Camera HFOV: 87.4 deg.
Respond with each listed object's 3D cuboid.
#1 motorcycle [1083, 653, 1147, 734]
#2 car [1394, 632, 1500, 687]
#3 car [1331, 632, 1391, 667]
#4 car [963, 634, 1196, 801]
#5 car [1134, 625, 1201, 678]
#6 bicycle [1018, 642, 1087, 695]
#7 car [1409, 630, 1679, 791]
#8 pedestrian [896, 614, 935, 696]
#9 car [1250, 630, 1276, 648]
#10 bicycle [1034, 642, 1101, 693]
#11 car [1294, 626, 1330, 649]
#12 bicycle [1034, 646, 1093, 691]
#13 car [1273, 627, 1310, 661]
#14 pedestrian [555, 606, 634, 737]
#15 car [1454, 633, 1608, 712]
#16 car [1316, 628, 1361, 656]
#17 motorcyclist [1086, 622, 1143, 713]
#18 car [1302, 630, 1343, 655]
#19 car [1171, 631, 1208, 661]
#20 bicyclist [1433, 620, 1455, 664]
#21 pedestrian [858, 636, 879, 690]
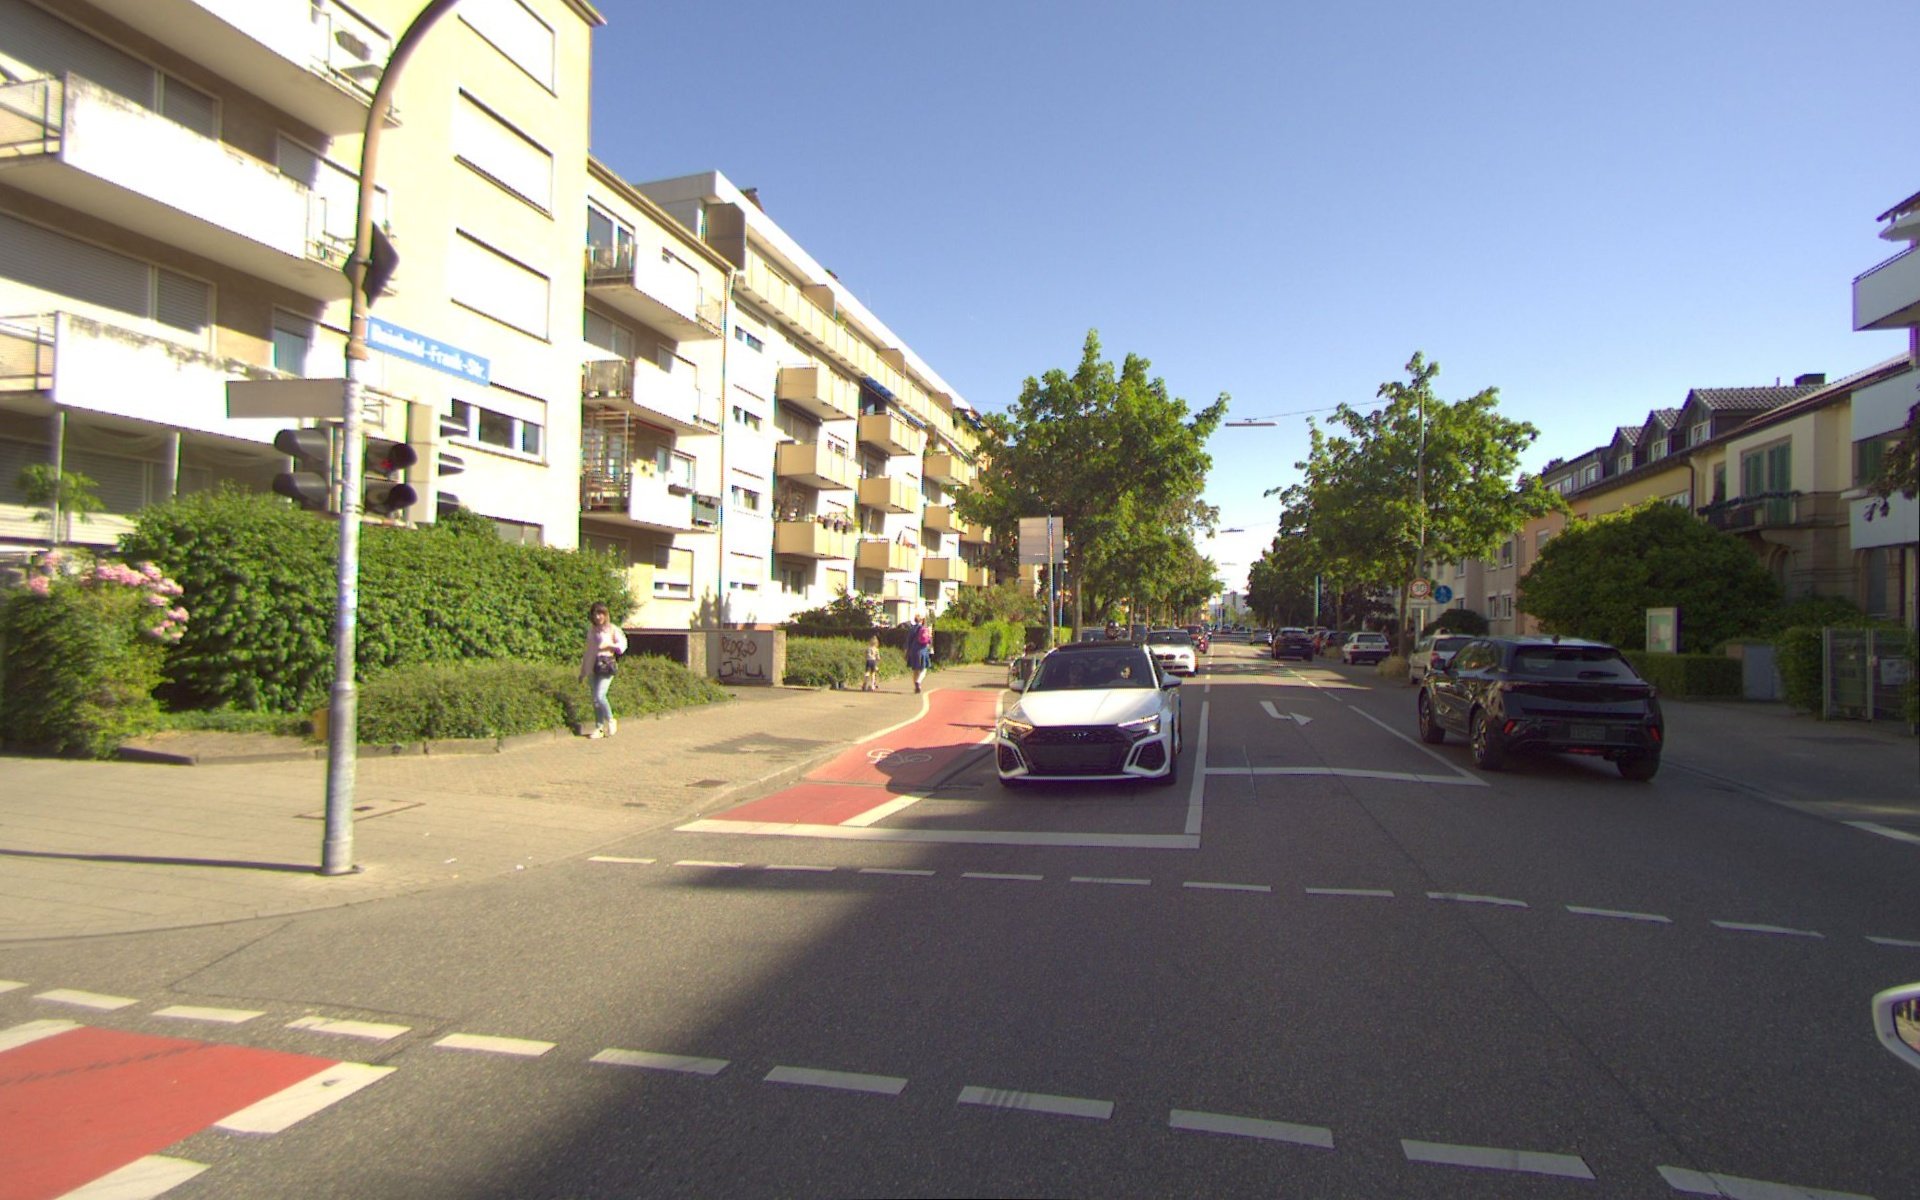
[{"bbox_3d":[2.439,1.430,15.700,0.734,1.149,1.684,-1,-2,17],"label":"motorcycle"},{"bbox_3d":[13.823,1.654,28.736,1.877,1.448,4.003,-2,-2,14],"label":"car"},{"bbox_3d":[17.849,2.162,44.854,1.877,1.448,4.003,-2,-2,14],"label":"car"},{"bbox_3d":[1.564,1.184,11.416,1.896,1.455,4.269,-3,-2,16],"label":"car"},{"bbox_3d":[6.757,1.629,32.405,1.779,1.579,4.251,-2,-2,16],"label":"car"},{"bbox_3d":[2.282,1.670,24.853,1.554,1.177,0.446,0,13,37],"label":"bicycle"},{"bbox_3d":[6.874,1.185,12.317,1.732,1.579,4.003,1,-1,13],"label":"car"},{"bbox_3d":[-0.940,1.155,21.408,0.563,1.705,0.969,0,-1,14],"label":"pedestrian"},{"bbox_3d":[25.839,3.277,85.709,1.806,1.452,4.179,1,-2,13],"label":"car"},{"bbox_3d":[2.720,1.695,25.479,1.554,1.177,0.446,0,13,37],"label":"bicycle"},{"bbox_3d":[23.726,2.529,67.878,1.877,1.448,4.003,-2,-2,14],"label":"car"},{"bbox_3d":[2.903,1.920,28.304,1.554,1.175,0.447,0,-10,37],"label":"bicycle"},{"bbox_3d":[16.193,2.148,49.159,1.565,1.586,4.091,1,-2,16],"label":"car"},{"bbox_3d":[-4.692,0.898,12.909,0.682,1.617,0.648,1,-1,12],"label":"pedestrian"},{"bbox_3d":[12.328,1.505,21.972,1.877,1.539,4.003,-1,-2,14],"label":"car"},{"bbox_3d":[21.311,2.358,56.670,1.877,1.448,4.003,-2,-2,14],"label":"car"},{"bbox_3d":[2.414,1.039,15.643,0.742,1.374,0.792,-1,-2,17],"label":"motorcyclist"},{"bbox_3d":[22.137,2.561,61.449,1.877,1.448,4.003,-2,-2,14],"label":"car"},{"bbox_3d":[13.153,2.616,57.427,1.779,1.579,4.251,-2,-2,16],"label":"car"},{"bbox_3d":[17.496,1.498,36.303,0.544,1.569,0.815,1,0,13],"label":"bicyclist"},{"bbox_3d":[-1.995,1.369,21.943,0.379,1.161,0.532,1,-1,0],"label":"pedestrian"}]
